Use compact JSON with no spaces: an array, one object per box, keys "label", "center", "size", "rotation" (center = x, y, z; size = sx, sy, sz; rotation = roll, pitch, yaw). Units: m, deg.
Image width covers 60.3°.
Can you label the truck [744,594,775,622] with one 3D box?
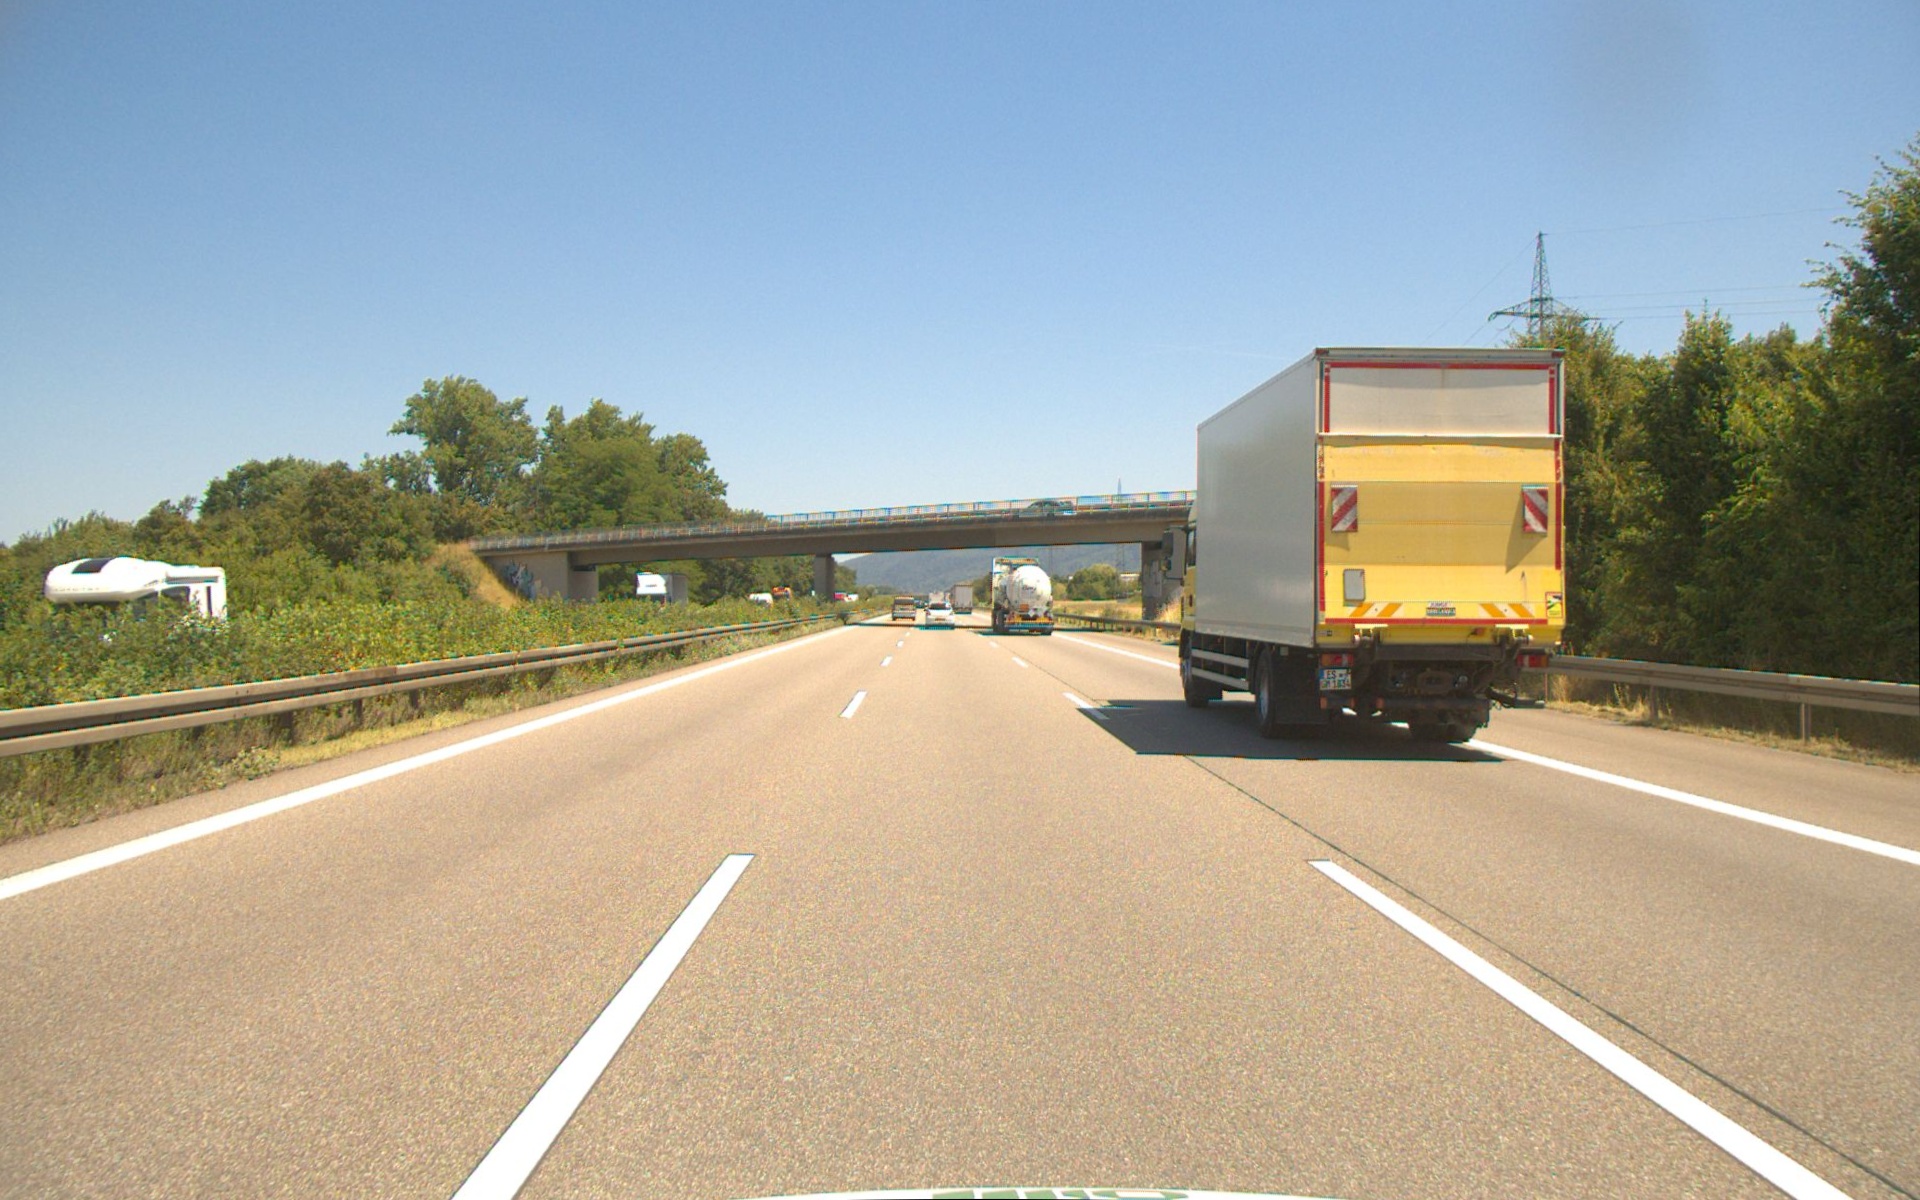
[{"label":"truck","center":[-17.791,0.695,147.197],"size":[1.953,2.440,6.419],"rotation":[1,0,0]}]

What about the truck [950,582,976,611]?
[{"label":"truck","center":[0.360,-0.451,233.079],"size":[3.199,3.925,11.628],"rotation":[1,0,-1]}]

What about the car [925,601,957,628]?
[{"label":"car","center":[-1.089,0.812,94.493],"size":[1.770,1.494,3.999],"rotation":[1,0,-1]}]

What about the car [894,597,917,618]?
[{"label":"car","center":[-4.492,0.583,136.638],"size":[1.814,1.661,3.999],"rotation":[1,0,-1]}]

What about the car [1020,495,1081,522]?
[{"label":"car","center":[5.690,-5.777,104.418],"size":[1.624,1.494,3.942],"rotation":[1,0,-40]}]

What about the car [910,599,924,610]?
[{"label":"car","center":[-5.954,0.596,227.980],"size":[1.798,1.411,3.999],"rotation":[1,0,-1]}]

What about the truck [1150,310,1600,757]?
[{"label":"truck","center":[4.651,-0.643,21.391],"size":[2.874,4.273,10.678],"rotation":[1,0,-1]}]

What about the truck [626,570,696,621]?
[{"label":"truck","center":[-21.876,-0.297,121.503],"size":[2.818,3.559,10.737],"rotation":[1,0,2]}]

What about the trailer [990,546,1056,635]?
[{"label":"trailer","center":[3.066,-0.442,83.005],"size":[2.528,4.145,11.100],"rotation":[1,0,-1]}]

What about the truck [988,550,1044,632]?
[{"label":"truck","center":[2.942,-0.446,87.765],"size":[2.521,4.143,6.390],"rotation":[1,0,-1]}]

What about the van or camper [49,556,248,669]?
[{"label":"van or camper","center":[-20.245,0.293,41.651],"size":[1.953,2.589,6.297],"rotation":[1,0,-1]}]
